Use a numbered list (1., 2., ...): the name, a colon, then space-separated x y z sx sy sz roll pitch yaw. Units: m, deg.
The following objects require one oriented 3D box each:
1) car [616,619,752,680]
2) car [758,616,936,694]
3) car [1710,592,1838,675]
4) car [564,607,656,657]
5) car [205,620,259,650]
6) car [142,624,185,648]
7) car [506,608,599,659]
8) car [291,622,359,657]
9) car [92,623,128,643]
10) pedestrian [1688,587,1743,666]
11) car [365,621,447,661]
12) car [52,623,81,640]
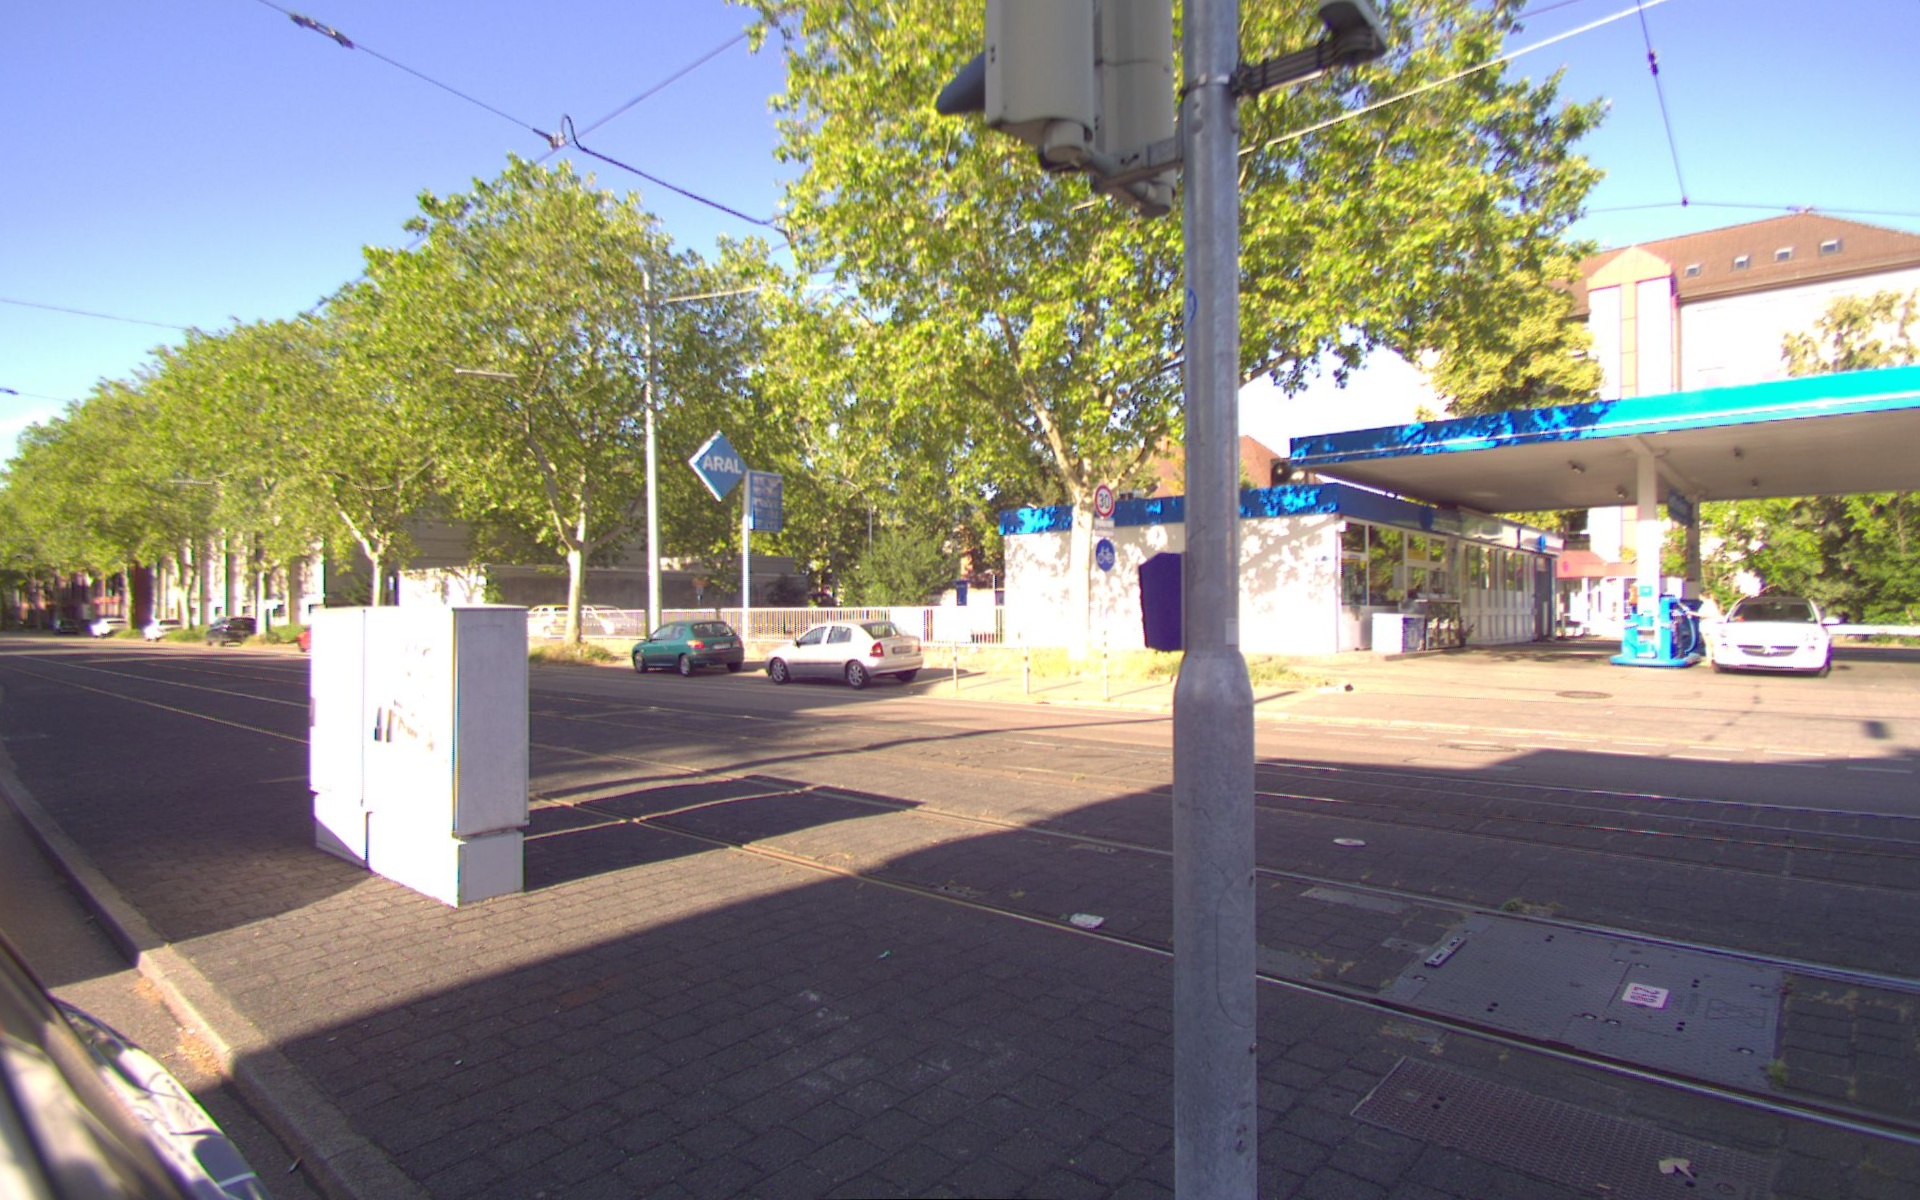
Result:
1. car: -7.435 1.273 27.082 3.858 1.408 1.722 -1 1 43
2. car: -2.575 1.166 22.601 3.857 1.497 1.823 -1 1 42
3. car: 15.939 0.614 19.786 1.793 1.453 3.946 -1 -1 40
4. car: -15.146 1.360 43.696 3.996 2.029 1.974 -1 -1 39
5. car: -40.675 1.950 56.494 3.858 1.557 1.735 -1 0 43
6. car: -53.637 2.391 68.131 3.858 1.495 1.735 -1 0 43
7. car: -17.045 1.390 42.269 3.996 2.029 1.974 -1 -1 39
8. car: -28.912 1.770 46.053 3.858 1.440 1.695 -1 0 43
9. car: -66.924 2.570 79.651 3.858 1.495 1.735 -1 0 43
10. pedestrian: 16.139 0.555 21.624 0.637 1.642 0.814 1 -2 -42
11. car: -21.986 1.585 40.098 3.858 1.468 1.735 -1 0 43
12. car: -84.870 3.000 96.127 3.858 1.495 1.735 -1 0 43
